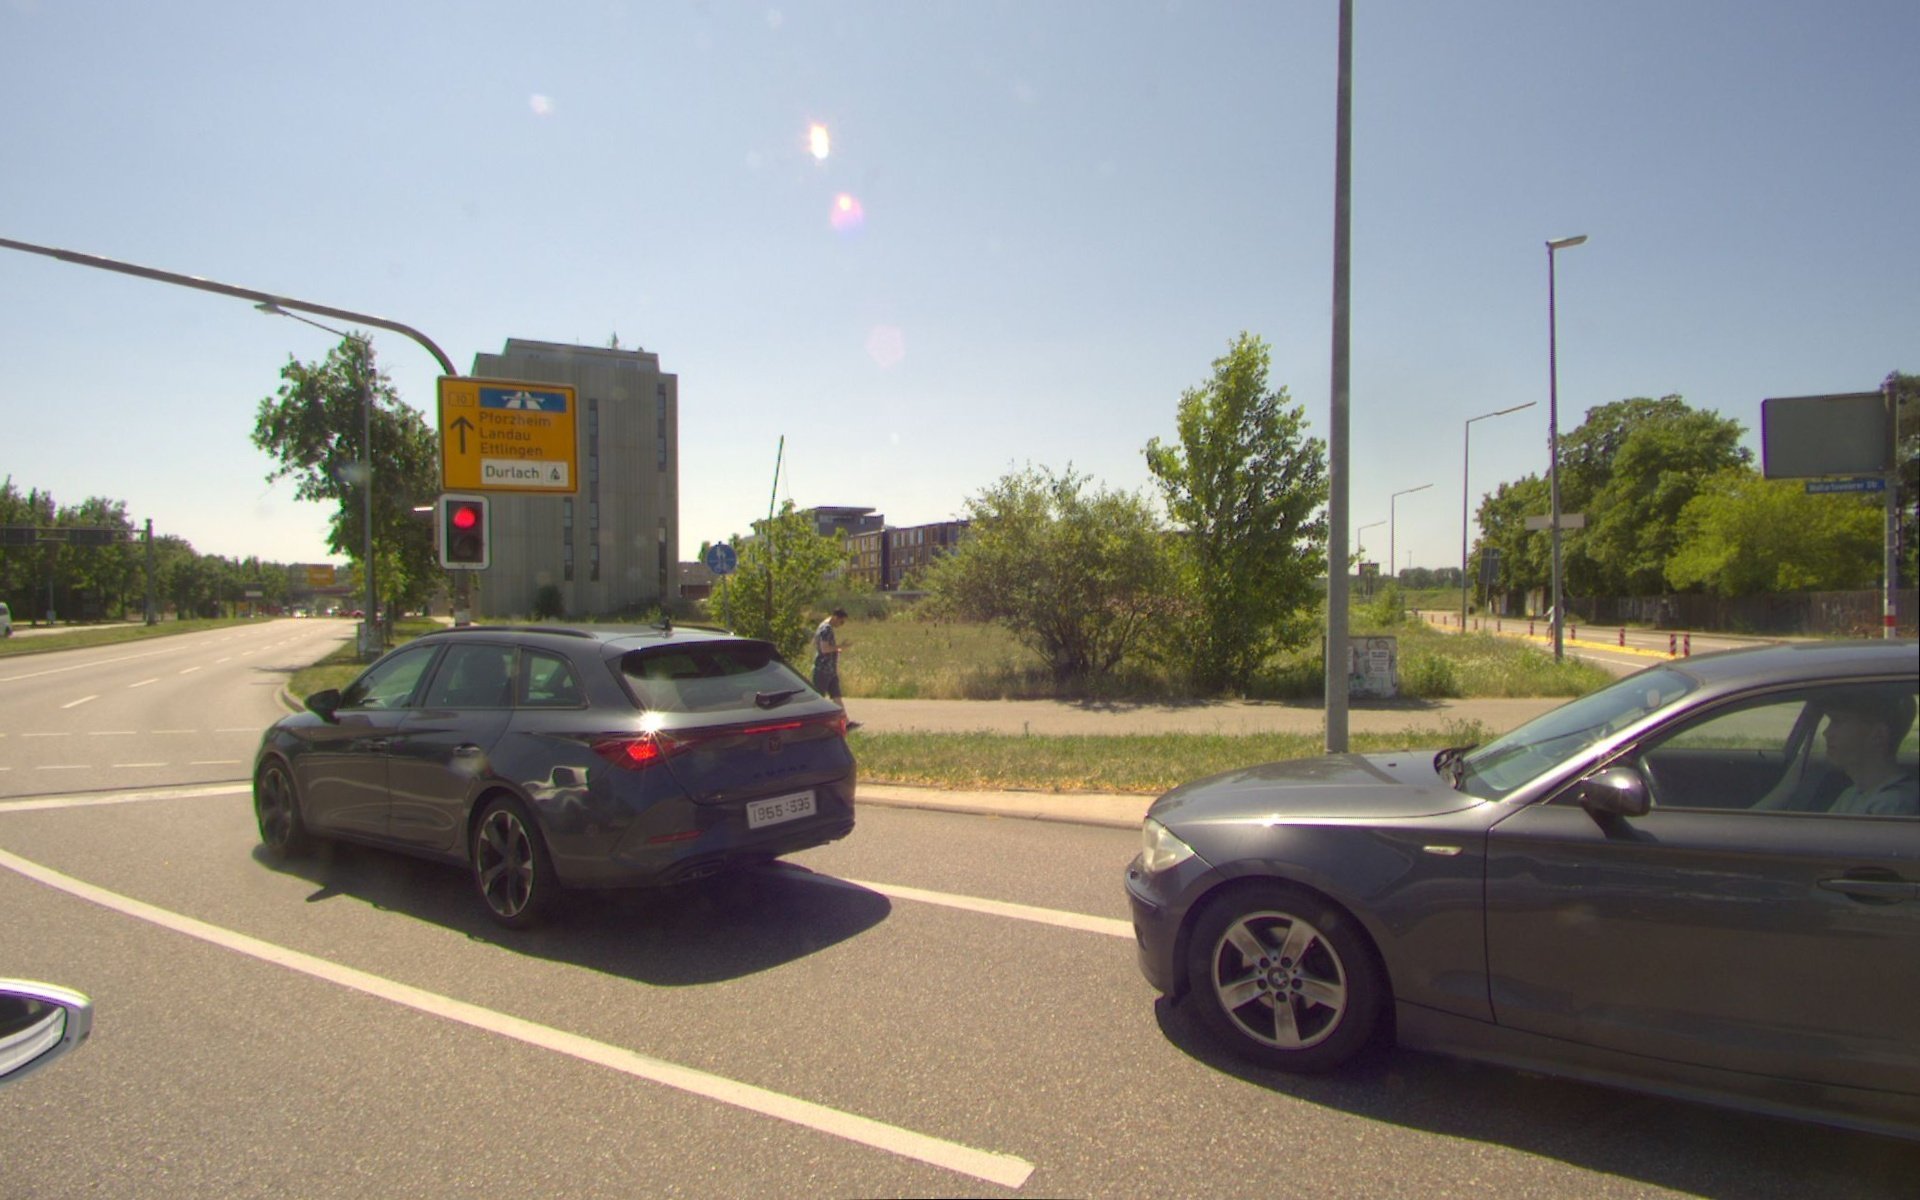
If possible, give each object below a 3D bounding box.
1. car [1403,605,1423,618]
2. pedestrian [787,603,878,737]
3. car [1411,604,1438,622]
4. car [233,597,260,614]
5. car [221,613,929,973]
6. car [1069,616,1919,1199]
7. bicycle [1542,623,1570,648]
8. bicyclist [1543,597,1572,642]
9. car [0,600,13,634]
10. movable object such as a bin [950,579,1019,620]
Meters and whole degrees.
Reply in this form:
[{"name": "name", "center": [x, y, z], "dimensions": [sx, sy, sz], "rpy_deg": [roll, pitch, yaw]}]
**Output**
[{"name": "car", "center": [55.859, 1.394, 123.462], "dimensions": [1.728, 1.565, 3.689], "rpy_deg": [0, 0, 16]}, {"name": "pedestrian", "center": [-1.673, 0.882, 13.092], "dimensions": [0.942, 1.659, 0.753], "rpy_deg": [-2, 1, -29]}, {"name": "car", "center": [42.289, 1.167, 91.240], "dimensions": [1.728, 1.565, 3.689], "rpy_deg": [0, 0, 16]}, {"name": "car", "center": [-74.035, 0.592, 103.935], "dimensions": [1.780, 1.714, 4.123], "rpy_deg": [-2, 0, -28]}, {"name": "car", "center": [-2.531, 0.815, 6.172], "dimensions": [4.395, 1.437, 1.988], "rpy_deg": [0, 0, 35]}, {"name": "car", "center": [2.555, 0.783, 3.309], "dimensions": [4.020, 1.421, 1.745], "rpy_deg": [0, -1, 31]}, {"name": "bicycle", "center": [22.645, 1.323, 38.055], "dimensions": [0.618, 0.891, 1.871], "rpy_deg": [-1, 0, 21]}, {"name": "bicyclist", "center": [22.662, 0.719, 37.979], "dimensions": [0.736, 1.662, 1.160], "rpy_deg": [0, 0, 21]}, {"name": "car", "center": [-45.105, 0.800, 45.688], "dimensions": [1.842, 1.575, 3.979], "rpy_deg": [0, 0, -30]}, {"name": "movable object such as a bin", "center": [2.138, -0.049, 83.732], "dimensions": [2.770, 3.190, 7.577], "rpy_deg": [-1, 0, 26]}]
